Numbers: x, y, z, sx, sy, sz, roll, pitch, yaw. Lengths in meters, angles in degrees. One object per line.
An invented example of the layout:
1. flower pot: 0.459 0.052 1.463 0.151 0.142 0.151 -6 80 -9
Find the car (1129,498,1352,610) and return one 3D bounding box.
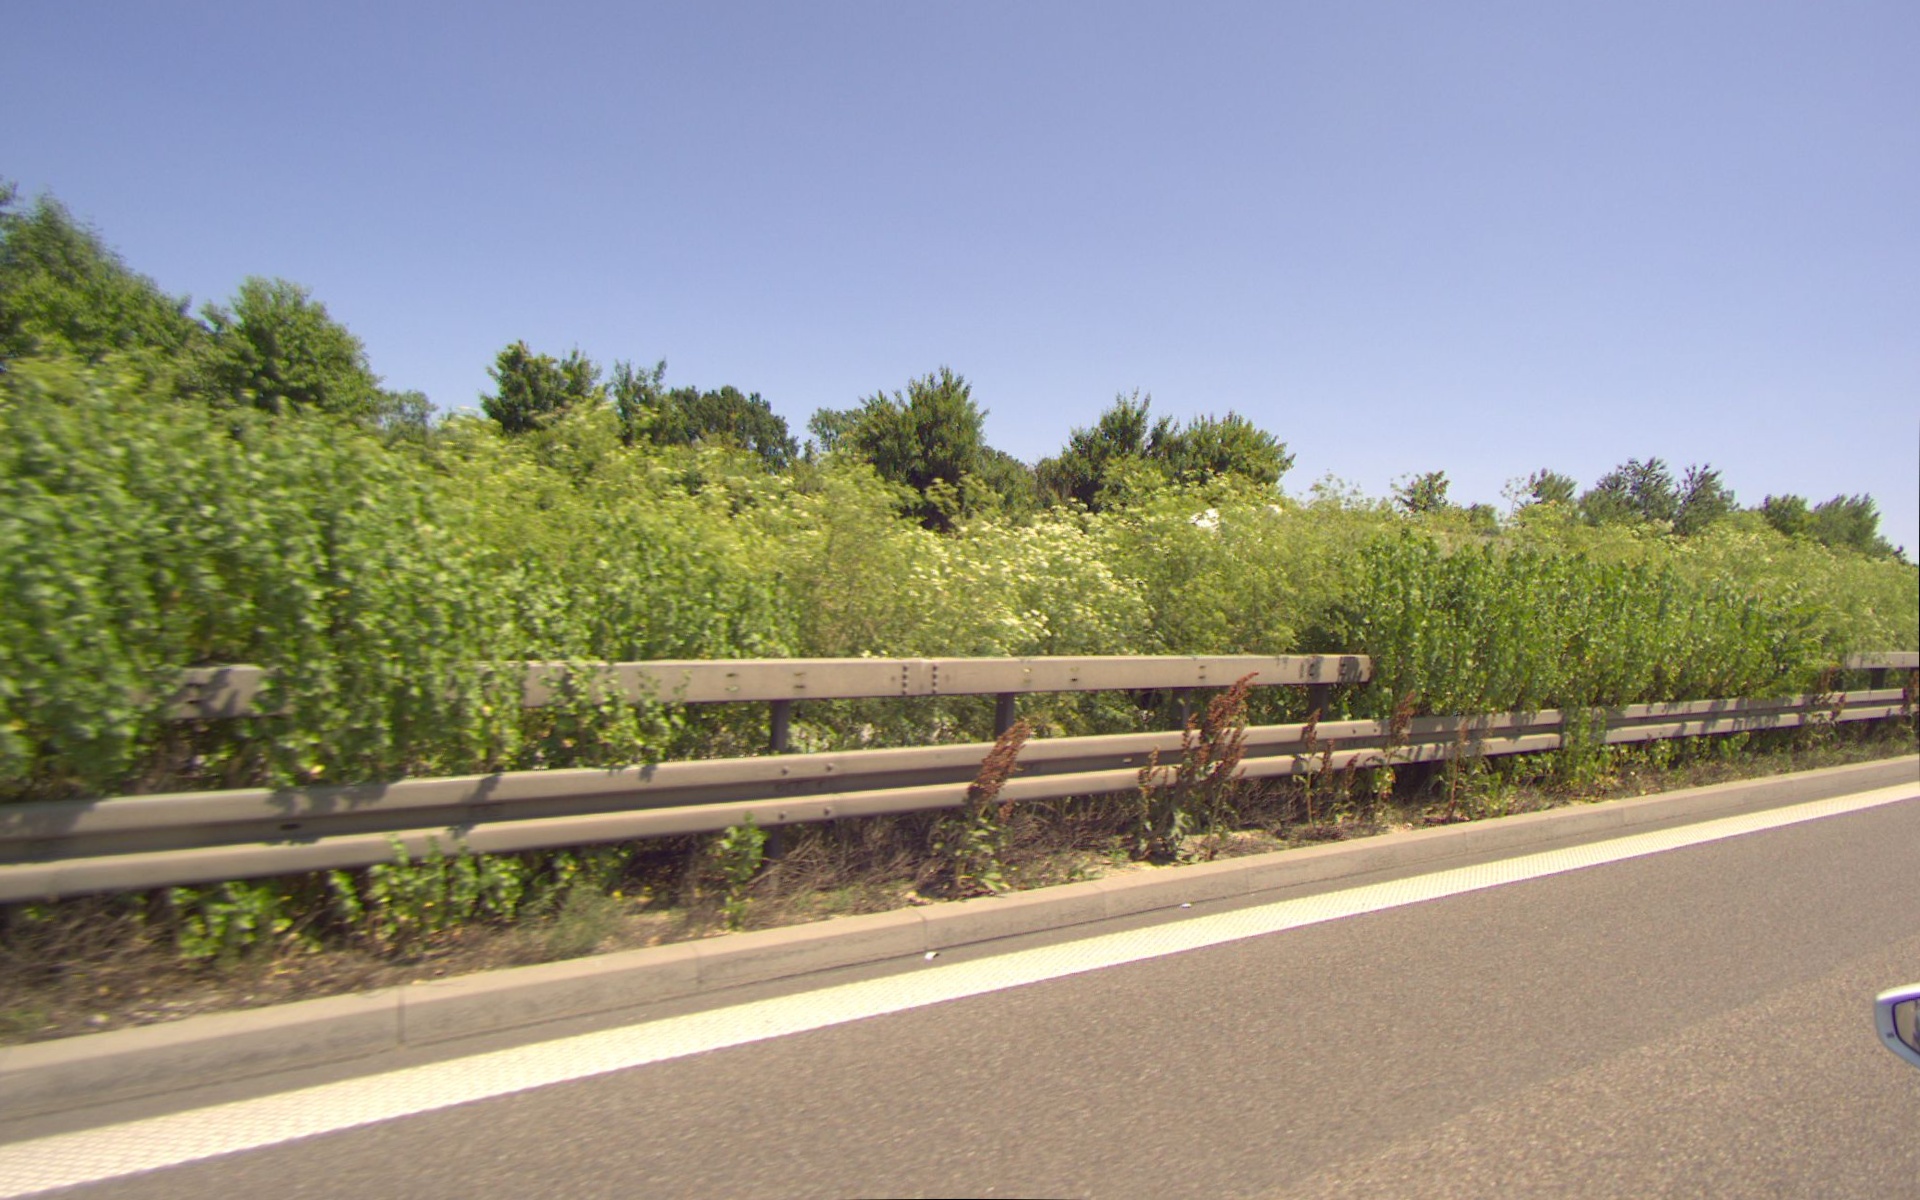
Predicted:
1. car: 7.304 -1.060 26.027 5.452 2.484 2.556 2 -1 -32

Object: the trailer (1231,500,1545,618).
1. trailer: 12.856 -0.990 29.454 11.283 2.746 2.552 2 -1 -33
